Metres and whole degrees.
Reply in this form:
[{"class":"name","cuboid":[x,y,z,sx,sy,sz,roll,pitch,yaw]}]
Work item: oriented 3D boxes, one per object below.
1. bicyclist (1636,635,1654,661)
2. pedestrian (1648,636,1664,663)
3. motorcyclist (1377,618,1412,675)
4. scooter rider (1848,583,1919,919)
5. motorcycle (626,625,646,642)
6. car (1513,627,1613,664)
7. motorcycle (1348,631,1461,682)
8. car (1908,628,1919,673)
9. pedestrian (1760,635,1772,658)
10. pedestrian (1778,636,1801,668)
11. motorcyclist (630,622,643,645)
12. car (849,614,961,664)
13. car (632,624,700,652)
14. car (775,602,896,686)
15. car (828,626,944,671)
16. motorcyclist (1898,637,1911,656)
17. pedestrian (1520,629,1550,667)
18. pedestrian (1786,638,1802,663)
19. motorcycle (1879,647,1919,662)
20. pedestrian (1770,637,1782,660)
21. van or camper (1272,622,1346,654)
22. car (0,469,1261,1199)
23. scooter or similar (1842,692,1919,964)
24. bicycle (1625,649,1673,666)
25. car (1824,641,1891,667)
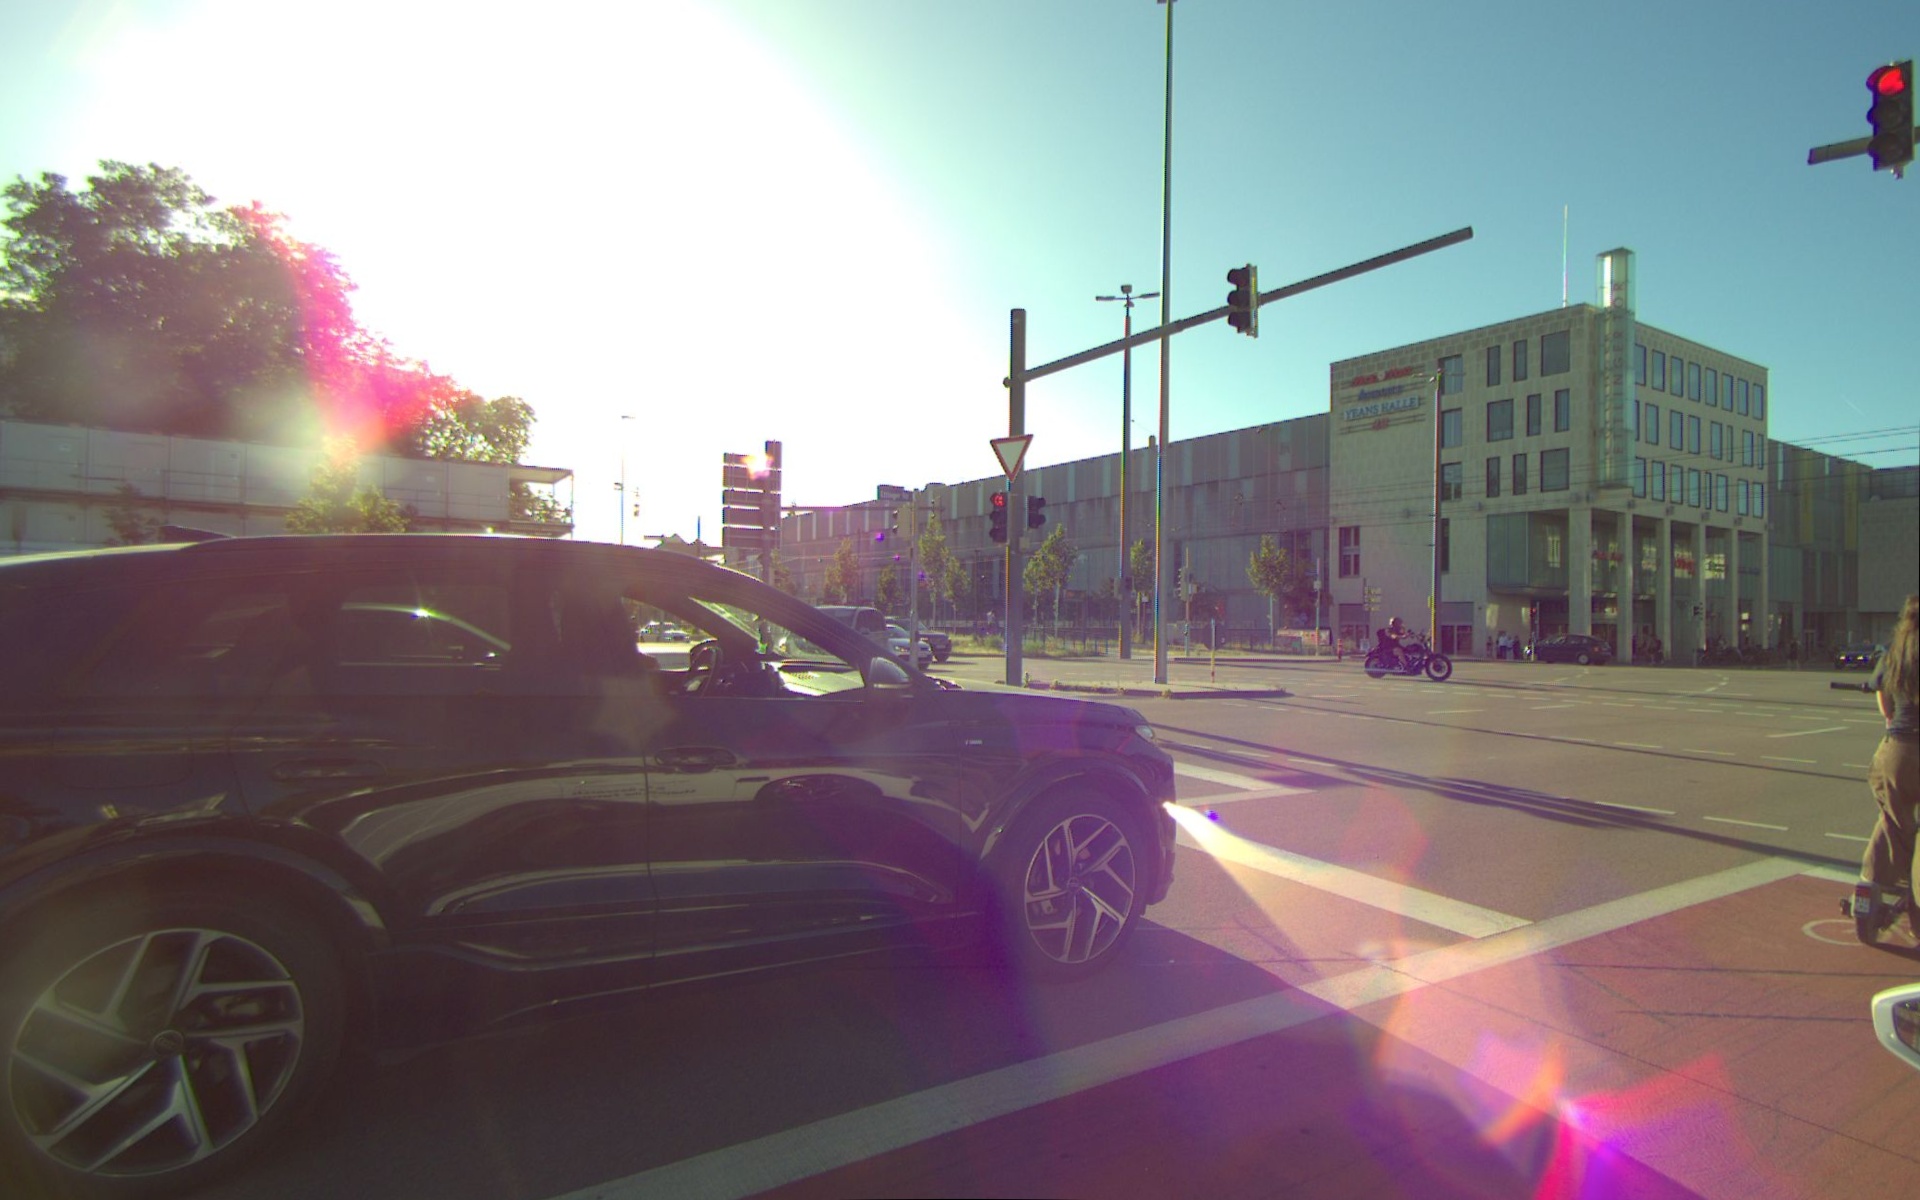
[{"class":"bicyclist","cuboid":[38.175,2.666,55.982,0.577,1.467,0.628,1,-1,0]},{"class":"pedestrian","cuboid":[43.169,3.058,62.277,0.622,1.667,0.589,1,-1,-30]},{"class":"motorcyclist","cuboid":[11.230,1.191,25.967,0.650,1.442,0.644,-1,0,44]},{"class":"scooter rider","cuboid":[4.620,0.699,4.757,0.445,1.550,0.548,1,-1,-38]},{"class":"motorcycle","cuboid":[-21.400,2.190,66.409,0.643,1.115,1.940,1,-1,-37]},{"class":"car","cuboid":[29.893,2.229,49.886,1.741,1.706,3.967,1,-1,-30]},{"class":"motorcycle","cuboid":[11.369,1.415,25.796,2.567,1.224,0.725,-1,-1,44]},{"class":"car","cuboid":[37.753,1.887,36.600,1.805,1.706,4.379,1,-2,-32]},{"class":"pedestrian","cuboid":[61.415,3.549,76.500,0.510,1.752,0.472,2,0,9]},{"class":"pedestrian","cuboid":[43.593,2.707,52.789,0.617,1.660,0.775,1,-1,-24]},{"class":"motorcyclist","cuboid":[-21.417,2.186,66.396,0.594,1.499,0.744,1,-1,-37]},{"class":"car","cuboid":[-2.271,1.539,40.427,1.873,1.888,4.771,2,-2,-43]},{"class":"car","cuboid":[-17.645,2.265,60.130,1.984,1.585,5.039,2,-2,-41]},{"class":"car","cuboid":[-3.115,1.098,26.206,1.850,1.947,4.934,0,-1,9]},{"class":"car","cuboid":[-2.502,1.563,33.226,1.718,1.395,3.890,2,-2,-45]},{"class":"motorcyclist","cuboid":[70.809,3.486,75.294,0.657,1.424,0.623,2,0,-38]},{"class":"pedestrian","cuboid":[26.166,2.192,45.701,0.994,1.697,0.818,1,-1,-33]},{"class":"pedestrian","cuboid":[60.639,3.660,73.027,0.681,1.752,0.472,2,0,9]},{"class":"motorcycle","cuboid":[70.637,4.103,75.169,1.106,1.006,2.582,2,0,-38]},{"class":"pedestrian","cuboid":[61.803,3.670,76.053,0.510,1.705,0.472,2,0,9]},{"class":"van or camper","cuboid":[22.969,2.459,66.251,1.974,2.040,4.388,1,-1,-34]},{"class":"car","cuboid":[-1.217,0.605,4.072,4.612,1.729,2.154,1,0,-32]},{"class":"scooter or similar","cuboid":[4.384,1.016,4.687,0.832,1.122,0.303,2,-1,-42]},{"class":"bicycle","cuboid":[38.397,3.219,56.026,2.173,0.915,0.638,0,-1,5]},{"class":"car","cuboid":[49.681,2.959,55.595,3.975,1.375,1.668,1,-1,-31]}]
